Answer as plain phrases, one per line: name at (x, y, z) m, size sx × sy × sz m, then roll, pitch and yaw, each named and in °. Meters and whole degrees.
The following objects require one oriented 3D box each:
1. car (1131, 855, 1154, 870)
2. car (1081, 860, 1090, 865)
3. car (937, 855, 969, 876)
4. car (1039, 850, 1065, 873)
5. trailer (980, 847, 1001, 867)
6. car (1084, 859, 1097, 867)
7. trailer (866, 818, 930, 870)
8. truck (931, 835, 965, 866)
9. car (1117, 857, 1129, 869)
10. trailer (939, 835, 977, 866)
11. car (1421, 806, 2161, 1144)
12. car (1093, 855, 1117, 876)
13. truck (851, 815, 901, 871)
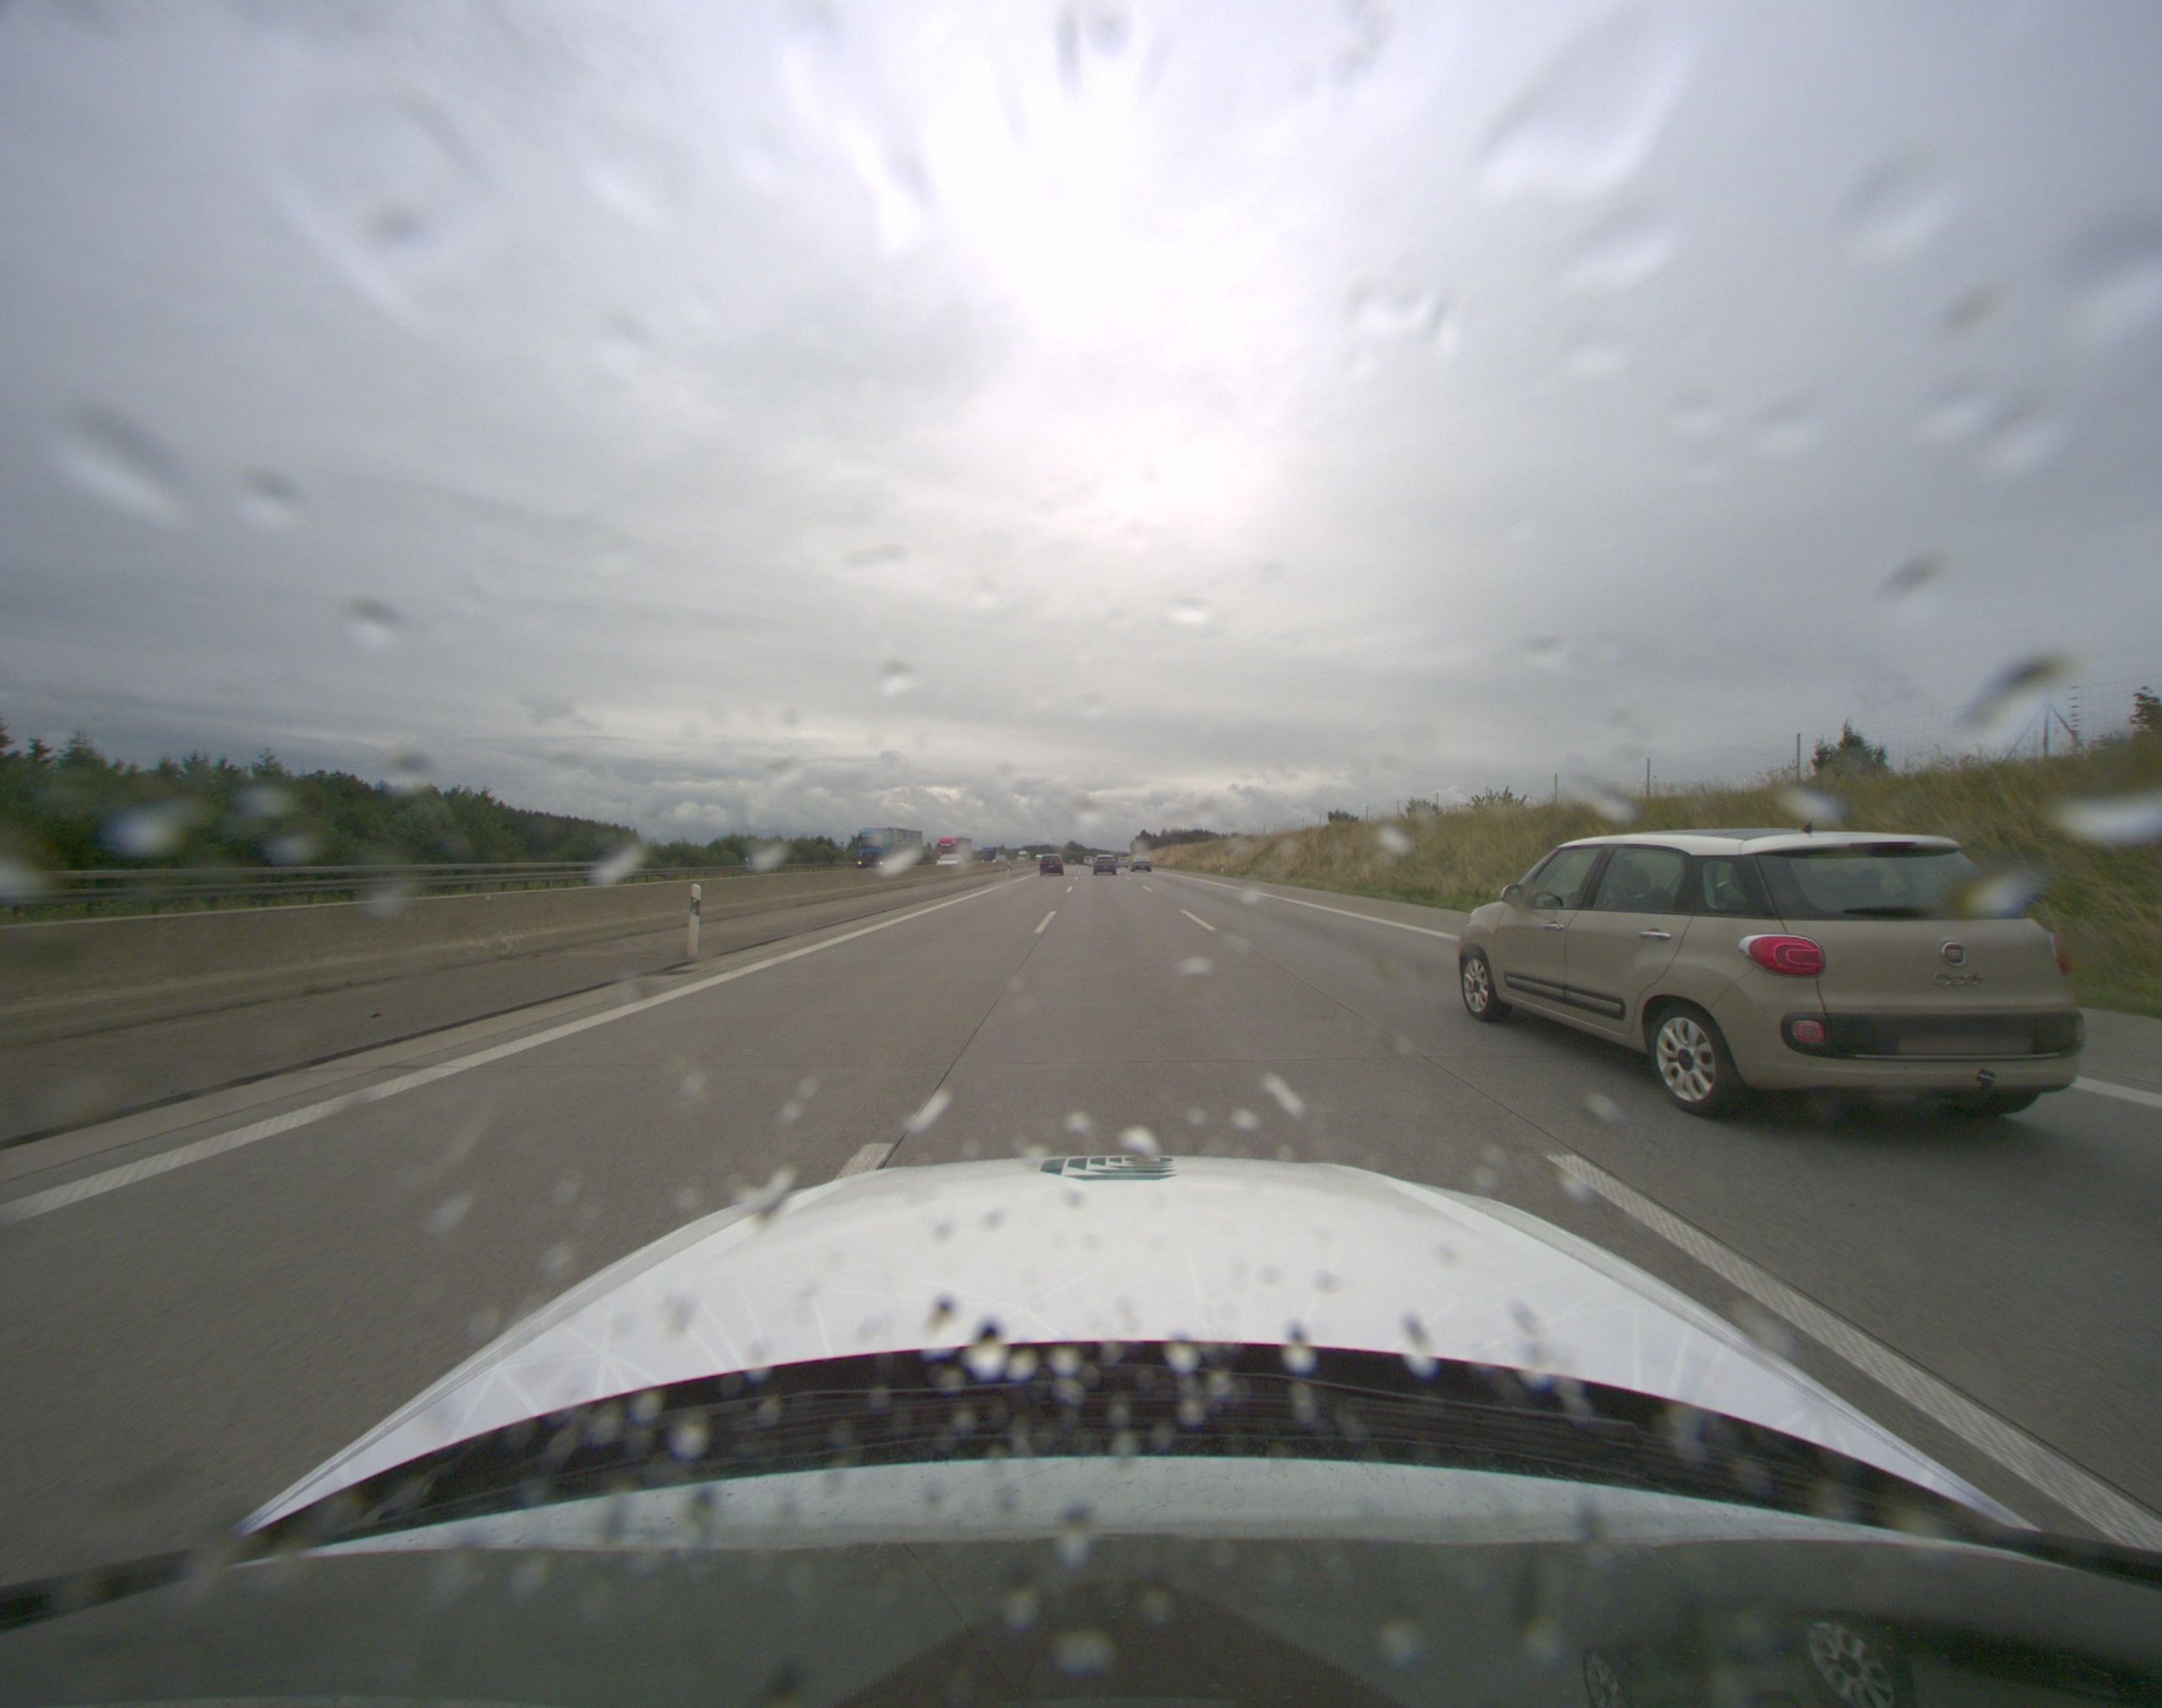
car at (5.958, 0.796, 79.234) m, size 2.006 × 1.446 × 4.747 m, roll 0°, pitch 0°, yaw 2°
car at (1.046, 1.842, 177.722) m, size 1.790 × 1.221 × 4.004 m, roll 0°, pitch 0°, yaw 4°
car at (-10.263, 0.899, 65.431) m, size 1.692 × 1.614 × 4.722 m, roll 0°, pitch 0°, yaw 2°
car at (-2.304, 0.597, 65.590) m, size 1.778 × 1.747 × 3.917 m, roll 0°, pitch 0°, yaw 2°
trailer at (-18.052, 0.661, 163.282) m, size 2.840 × 3.837 × 12.399 m, roll 0°, pitch 0°, yaw 1°
car at (1.435, 1.360, 127.147) m, size 1.790 × 1.123 × 4.004 m, roll 0°, pitch 0°, yaw 4°
trailer at (-17.751, -0.878, 80.044) m, size 2.905 × 4.625 × 13.639 m, roll 0°, pitch 0°, yaw 1°
truck at (-18.115, -0.452, 111.532) m, size 3.458 × 4.182 × 6.494 m, roll 0°, pitch 0°, yaw 1°
car at (5.691, 1.201, 110.973) m, size 1.481 × 1.470 × 3.504 m, roll 2°, pitch 0°, yaw 0°
trailer at (-17.937, -0.481, 119.766) m, size 3.471 × 4.201 × 12.930 m, roll 0°, pitch 0°, yaw 1°
car at (4.348, 0.576, 6.168) m, size 1.778 × 1.605 × 4.573 m, roll 0°, pitch 0°, yaw 2°
car at (1.982, 0.896, 66.470) m, size 1.891 × 1.690 × 5.268 m, roll 0°, pitch 0°, yaw 2°
truck at (-17.883, -0.911, 71.374) m, size 2.918 × 4.676 × 5.232 m, roll 0°, pitch 0°, yaw 0°
